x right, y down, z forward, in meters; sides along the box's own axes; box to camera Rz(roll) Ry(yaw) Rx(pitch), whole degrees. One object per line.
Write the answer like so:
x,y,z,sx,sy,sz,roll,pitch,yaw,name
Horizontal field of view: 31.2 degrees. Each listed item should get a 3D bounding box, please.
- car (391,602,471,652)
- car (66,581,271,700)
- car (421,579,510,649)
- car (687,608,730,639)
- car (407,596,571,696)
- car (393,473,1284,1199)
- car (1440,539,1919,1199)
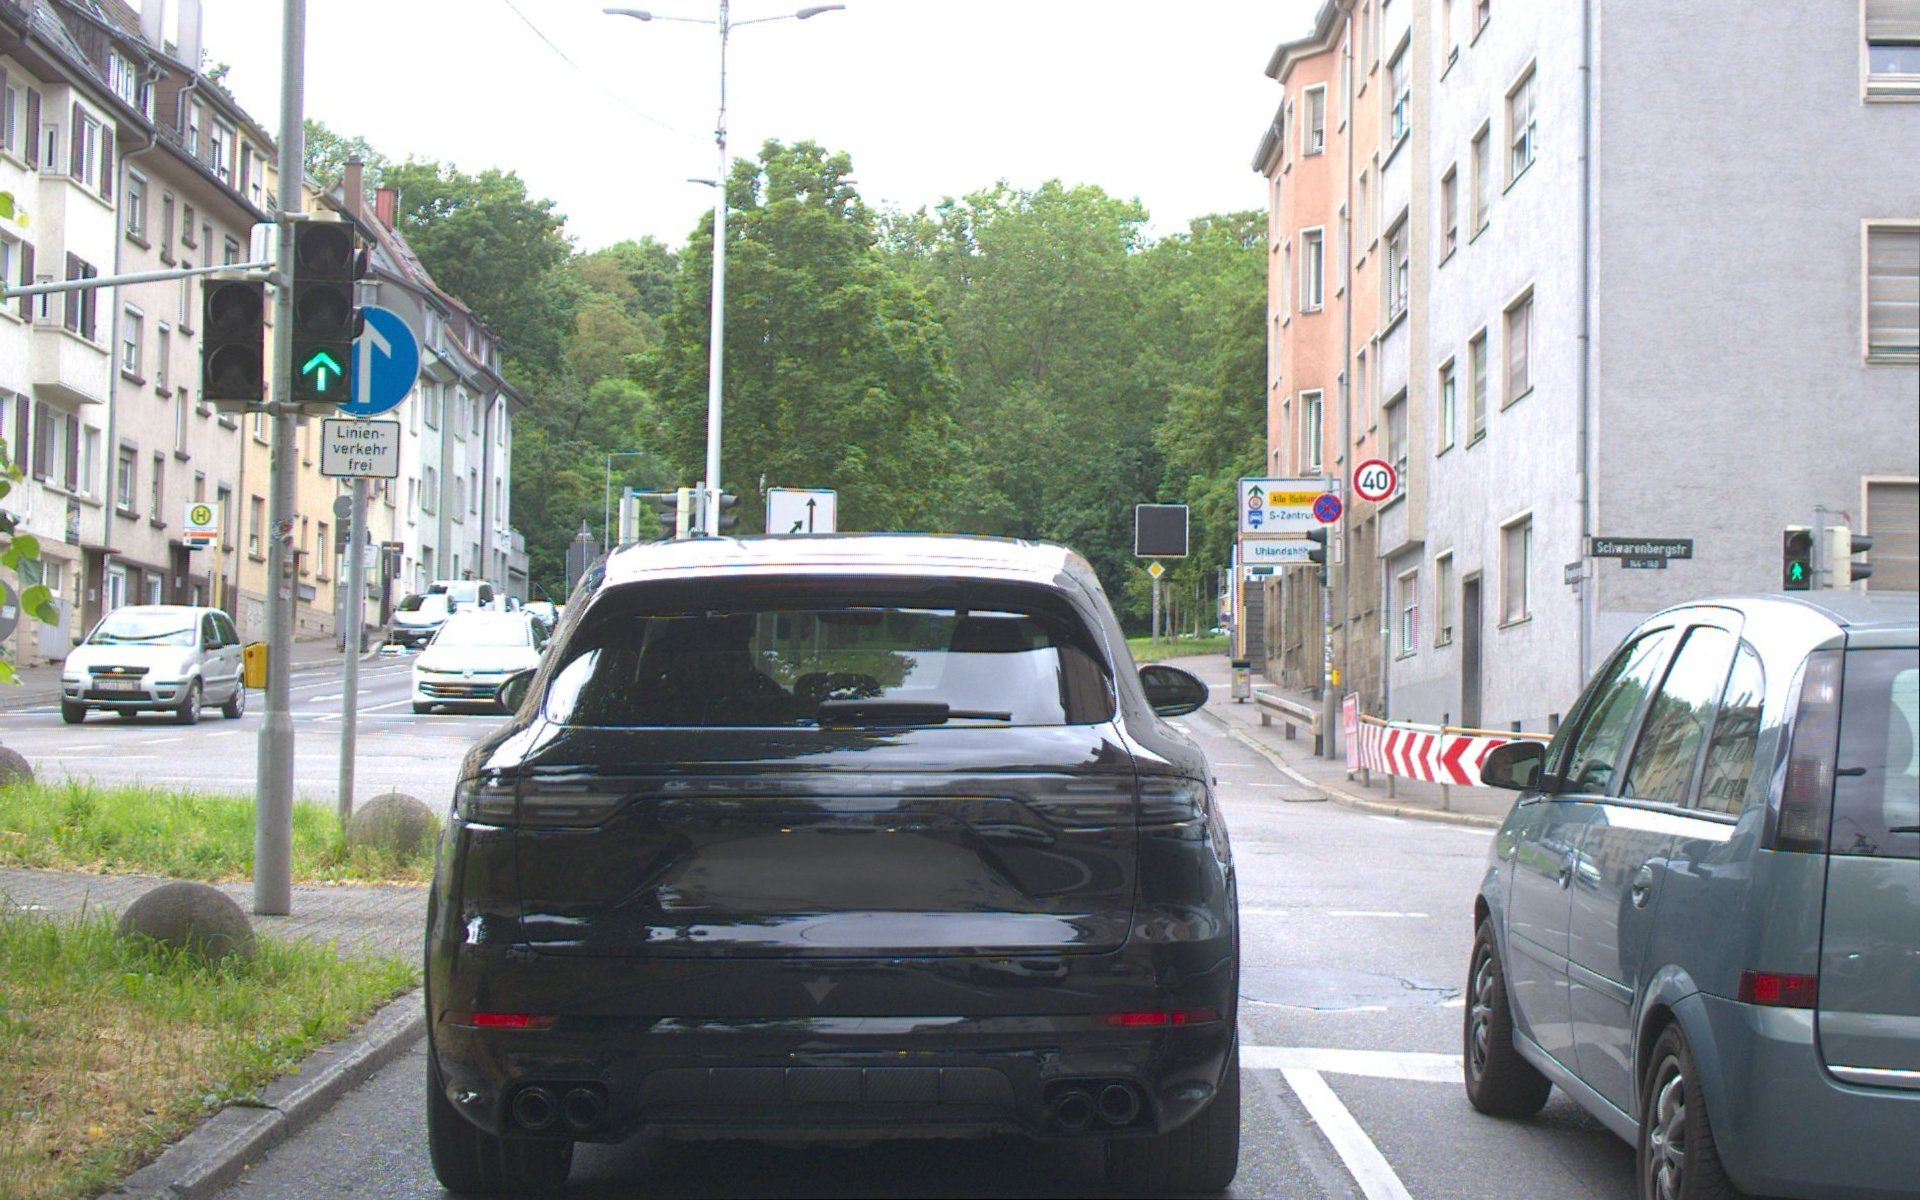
-15.159,0.768,98.668,1.739,1.382,3.813,1,-1,0,car
-10.285,0.557,44.923,1.619,1.475,3.822,0,-2,3,car
-14.979,0.434,104.365,2.016,2.039,4.666,1,-1,0,car
-10.452,0.968,143.085,1.551,1.253,3.662,1,-1,0,car
-6.859,0.666,50.459,1.861,1.383,4.094,1,-1,0,car
-0.297,0.574,9.554,1.955,1.669,4.000,0,-1,-1,car
2.389,0.710,8.892,1.628,1.592,3.669,4,0,-1,car
